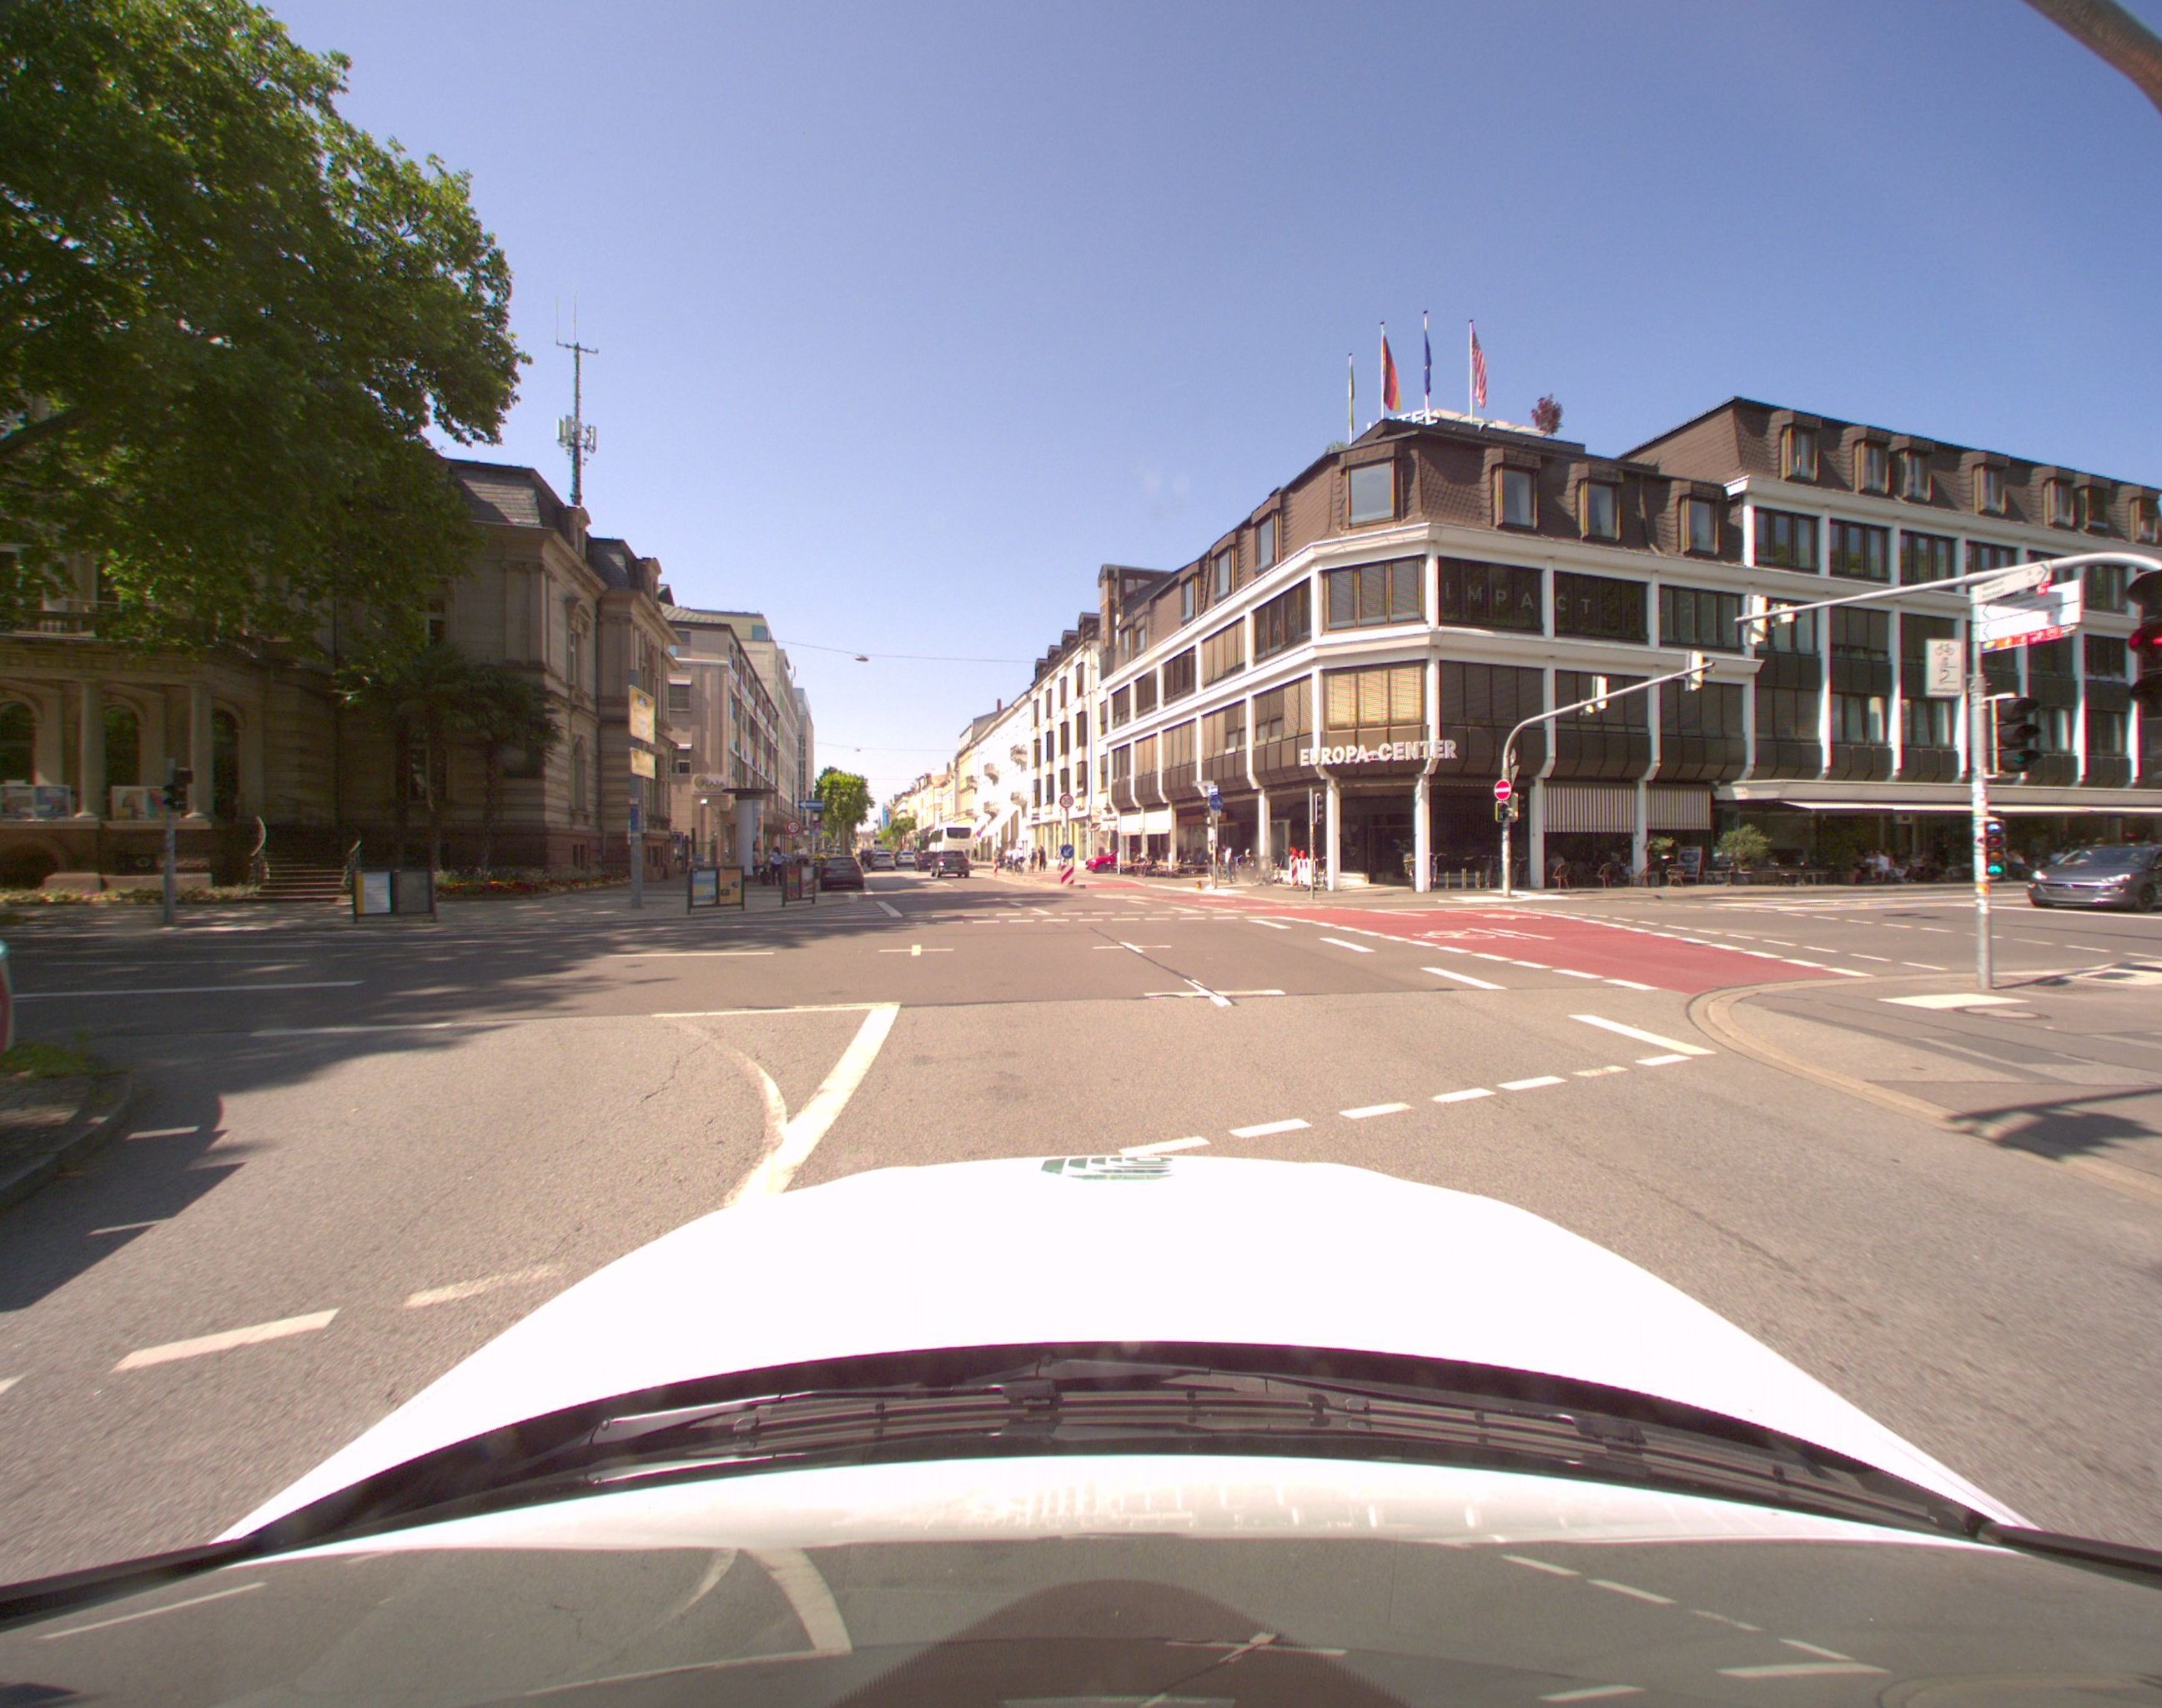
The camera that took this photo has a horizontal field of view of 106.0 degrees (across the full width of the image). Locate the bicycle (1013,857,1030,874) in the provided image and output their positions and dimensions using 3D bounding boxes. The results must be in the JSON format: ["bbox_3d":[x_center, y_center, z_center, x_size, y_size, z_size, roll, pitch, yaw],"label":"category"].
[{"bbox_3d":[-3.933,0.721,53.959,0.622,1.099,2.339,0,0,-17],"label":"bicycle"}]

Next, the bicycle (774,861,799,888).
[{"bbox_3d":[-12.678,0.866,35.101,0.428,1.120,2.239,1,-2,-5],"label":"bicycle"}]

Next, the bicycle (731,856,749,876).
[{"bbox_3d":[-19.021,0.654,45.443,0.493,1.062,2.005,0,0,-36],"label":"bicycle"}]

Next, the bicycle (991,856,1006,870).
[{"bbox_3d":[-6.775,0.725,66.877,0.840,1.099,2.339,0,0,-17],"label":"bicycle"}]

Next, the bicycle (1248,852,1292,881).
[{"bbox_3d":[7.624,0.500,32.875,1.716,1.120,0.277,-2,0,-10],"label":"bicycle"}]

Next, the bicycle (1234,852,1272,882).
[{"bbox_3d":[7.090,0.521,33.647,1.545,1.207,0.277,0,0,-10],"label":"bicycle"}]

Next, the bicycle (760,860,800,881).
[{"bbox_3d":[-16.540,0.937,44.752,1.970,1.120,0.552,2,-2,-27],"label":"bicycle"}]

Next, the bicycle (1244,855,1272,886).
[{"bbox_3d":[6.819,0.606,31.426,0.276,1.120,2.237,-1,1,-8],"label":"bicycle"}]

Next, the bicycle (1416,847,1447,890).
[{"bbox_3d":[11.481,0.457,26.665,0.524,1.316,1.871,-1,1,35],"label":"bicycle"}]

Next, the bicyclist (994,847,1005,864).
[{"bbox_3d":[-6.654,0.092,66.533,0.789,1.379,0.718,0,0,-18],"label":"bicyclist"}]

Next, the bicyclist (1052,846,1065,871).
[{"bbox_3d":[-1.369,0.254,49.703,0.621,1.529,0.865,0,0,-14],"label":"bicyclist"}]

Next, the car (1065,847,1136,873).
[{"bbox_3d":[1.202,0.363,50.347,4.051,1.495,1.832,-1,-2,-15],"label":"car"}]

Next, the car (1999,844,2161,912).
[{"bbox_3d":[23.564,0.481,18.640,4.092,1.363,1.849,-1,1,-16],"label":"car"}]

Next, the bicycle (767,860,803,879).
[{"bbox_3d":[-17.716,0.900,48.795,1.973,1.120,0.506,0,-1,-20],"label":"bicycle"}]

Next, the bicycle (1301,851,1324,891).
[{"bbox_3d":[8.307,0.591,29.236,0.372,1.064,1.482,-2,14,30],"label":"bicycle"}]

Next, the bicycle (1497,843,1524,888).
[{"bbox_3d":[14.271,0.361,27.026,0.524,1.422,1.980,-1,1,35],"label":"bicycle"}]

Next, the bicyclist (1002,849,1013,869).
[{"bbox_3d":[-5.149,0.344,56.821,0.622,1.370,0.776,0,0,-18],"label":"bicyclist"}]

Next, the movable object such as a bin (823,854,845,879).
[{"bbox_3d":[-15.226,0.780,50.239,1.124,1.450,1.434,1,1,-10],"label":"movable object such as a bin"}]

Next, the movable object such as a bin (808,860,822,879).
[{"bbox_3d":[-15.888,0.927,48.579,0.726,1.098,0.651,1,1,-24],"label":"movable object such as a bin"}]

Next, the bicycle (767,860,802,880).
[{"bbox_3d":[-17.278,0.939,47.525,1.849,1.073,0.553,-2,-2,-20],"label":"bicycle"}]

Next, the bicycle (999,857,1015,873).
[{"bbox_3d":[-5.175,0.746,56.899,0.622,1.099,2.339,0,0,-17],"label":"bicycle"}]

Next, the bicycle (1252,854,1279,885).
[{"bbox_3d":[7.131,0.583,31.554,0.276,1.120,2.237,-1,1,-8],"label":"bicycle"}]

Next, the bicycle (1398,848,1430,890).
[{"bbox_3d":[11.023,0.473,26.916,0.524,1.316,1.980,-1,1,35],"label":"bicycle"}]

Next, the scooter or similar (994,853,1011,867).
[{"bbox_3d":[-6.293,0.470,65.158,1.124,1.102,1.079,0,0,-18],"label":"scooter or similar"}]

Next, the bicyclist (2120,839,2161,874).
[{"bbox_3d":[40.891,0.097,31.351,0.943,1.308,0.777,-1,-1,-18],"label":"bicyclist"}]

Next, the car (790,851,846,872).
[{"bbox_3d":[-20.841,0.569,64.520,4.008,1.494,1.947,1,1,25],"label":"car"}]

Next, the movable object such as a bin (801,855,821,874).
[{"bbox_3d":[-18.593,0.714,56.036,1.211,1.299,1.074,1,1,-16],"label":"movable object such as a bin"}]

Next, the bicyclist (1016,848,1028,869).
[{"bbox_3d":[-3.898,0.310,53.843,0.622,1.355,0.841,0,0,-18],"label":"bicyclist"}]

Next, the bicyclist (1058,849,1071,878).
[{"bbox_3d":[-0.933,0.541,46.432,0.693,1.625,0.834,-1,0,-5],"label":"bicyclist"}]

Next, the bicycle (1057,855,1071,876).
[{"bbox_3d":[-0.970,0.657,46.501,0.594,1.120,1.796,-1,1,-8],"label":"bicycle"}]

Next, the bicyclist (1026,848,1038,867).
[{"bbox_3d":[-3.375,0.257,55.562,0.622,1.296,0.862,0,0,-18],"label":"bicyclist"}]

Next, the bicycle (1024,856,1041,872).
[{"bbox_3d":[-3.324,0.679,55.406,0.622,1.099,2.339,0,0,-17],"label":"bicycle"}]

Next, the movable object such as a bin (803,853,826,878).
[{"bbox_3d":[-16.333,0.695,50.023,1.124,1.450,1.434,1,1,-10],"label":"movable object such as a bin"}]

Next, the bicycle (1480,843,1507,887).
[{"bbox_3d":[14.039,0.353,27.713,0.524,1.422,1.980,-1,1,35],"label":"bicycle"}]

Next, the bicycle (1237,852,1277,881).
[{"bbox_3d":[7.184,0.518,33.293,1.570,1.120,0.277,-2,0,-10],"label":"bicycle"}]

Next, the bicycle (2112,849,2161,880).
[{"bbox_3d":[40.873,0.397,31.339,2.121,1.120,0.760,-1,-1,-18],"label":"bicycle"}]

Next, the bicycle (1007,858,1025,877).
[{"bbox_3d":[-4.075,0.833,50.889,0.666,1.120,2.232,1,1,-15],"label":"bicycle"}]

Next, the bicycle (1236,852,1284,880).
[{"bbox_3d":[7.587,0.498,34.485,2.246,1.120,0.275,-1,0,-24],"label":"bicycle"}]

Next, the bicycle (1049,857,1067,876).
[{"bbox_3d":[-1.393,0.739,49.795,0.621,1.099,2.341,0,0,-14],"label":"bicycle"}]

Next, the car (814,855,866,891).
[{"bbox_3d":[-10.244,0.763,34.893,1.940,1.354,4.229,-1,1,-14],"label":"car"}]

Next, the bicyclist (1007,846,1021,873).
[{"bbox_3d":[-4.200,0.351,50.852,0.695,1.673,0.911,2,1,-15],"label":"bicyclist"}]

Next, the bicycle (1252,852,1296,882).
[{"bbox_3d":[7.690,0.513,32.485,1.716,1.120,0.277,-2,0,-10],"label":"bicycle"}]

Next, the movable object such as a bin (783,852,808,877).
[{"bbox_3d":[-17.498,0.619,49.925,1.209,1.450,1.359,1,1,-10],"label":"movable object such as a bin"}]

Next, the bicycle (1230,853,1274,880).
[{"bbox_3d":[7.388,0.520,35.067,2.249,1.097,0.275,-1,0,-30],"label":"bicycle"}]
